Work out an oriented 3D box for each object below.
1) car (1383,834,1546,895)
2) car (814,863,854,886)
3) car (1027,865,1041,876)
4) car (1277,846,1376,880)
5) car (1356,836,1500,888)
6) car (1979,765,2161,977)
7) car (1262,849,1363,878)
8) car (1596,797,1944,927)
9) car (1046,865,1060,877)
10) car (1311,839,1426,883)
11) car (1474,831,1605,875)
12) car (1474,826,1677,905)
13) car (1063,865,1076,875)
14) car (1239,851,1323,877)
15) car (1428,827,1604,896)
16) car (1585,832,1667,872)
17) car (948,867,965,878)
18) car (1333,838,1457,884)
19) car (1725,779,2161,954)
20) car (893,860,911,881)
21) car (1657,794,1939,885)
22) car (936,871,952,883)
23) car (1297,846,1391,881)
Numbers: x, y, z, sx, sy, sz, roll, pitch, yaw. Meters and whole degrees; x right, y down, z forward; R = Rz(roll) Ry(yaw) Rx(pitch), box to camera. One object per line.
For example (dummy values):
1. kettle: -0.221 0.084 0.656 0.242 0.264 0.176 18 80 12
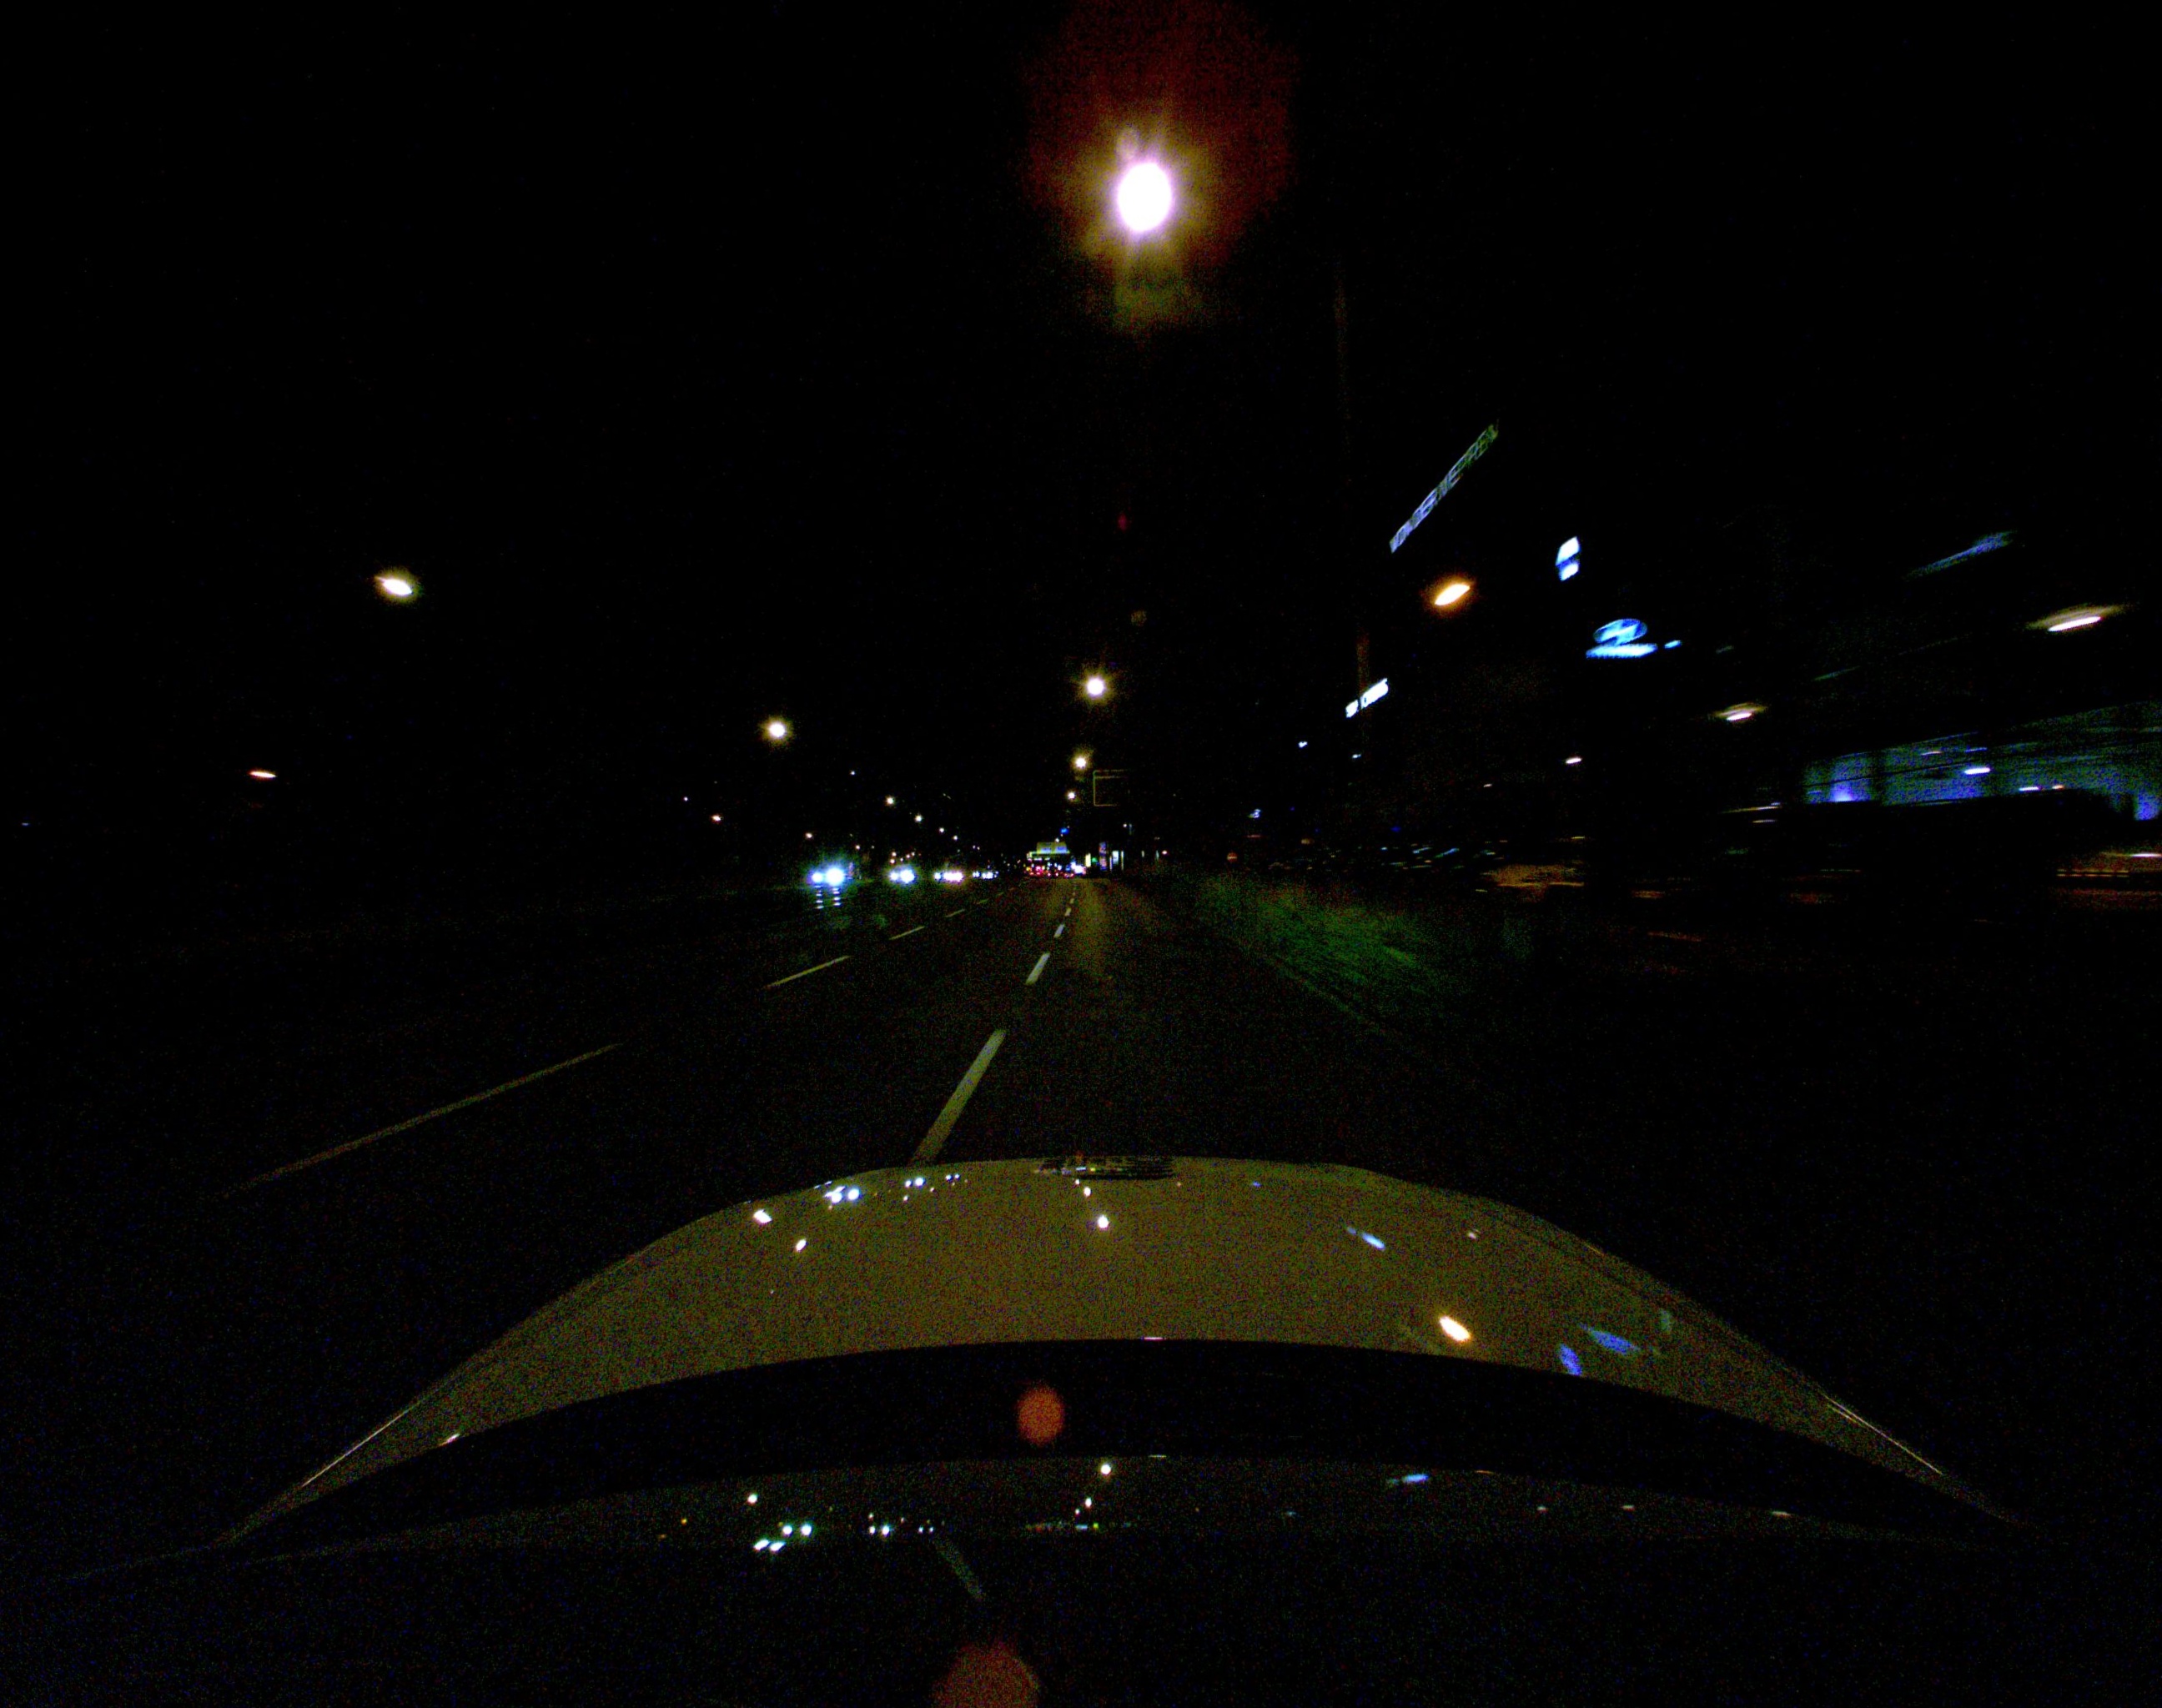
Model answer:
1. car: 11.193 0.306 23.833 4.031 1.373 1.816 -5 0 -15
2. car: -19.236 1.562 63.529 1.773 1.713 4.227 -1 -1 1
3. car: -8.585 3.063 149.261 2.255 2.014 4.826 -1 -1 1
4. car: 11.282 0.403 37.462 3.996 1.424 1.898 -1 0 -17
5. car: 11.383 0.256 26.822 3.987 1.381 1.802 -4 0 -10
6. car: 10.936 -0.046 7.136 4.461 1.687 1.993 -6 0 -10
7. car: 11.406 0.455 40.182 4.650 1.264 1.932 -1 0 -24
8. car: 11.132 0.121 13.294 4.459 1.547 1.764 -6 -1 -9
9. car: -4.951 3.041 145.337 2.348 2.129 4.826 -1 -1 1
10. car: 11.377 0.253 32.252 3.999 1.470 1.821 -3 0 -19
11. car: 16.320 -0.004 29.173 1.632 1.464 3.756 -1 0 -32
12. car: 11.232 0.240 18.572 3.806 1.453 1.710 -4 0 -13
13. car: -2.370 3.342 168.669 2.419 2.113 4.826 -1 -1 1
14. car: 11.076 0.561 45.174 4.126 1.420 1.868 0 -1 -13
15. car: 11.302 0.185 21.237 3.771 1.379 1.709 -5 0 -13
16. car: 24.305 -0.082 36.255 4.340 1.654 1.639 0 -1 -36
17. car: -17.660 2.668 115.604 1.615 1.440 4.337 -3 -1 0
18. car: 11.315 0.215 29.360 4.003 1.391 1.813 -3 1 -22
19. car: 10.542 0.105 9.978 4.081 1.568 1.848 -5 0 -10
20. car: -25.039 2.389 114.070 2.147 2.671 6.934 -4 -1 -11
21. car: 16.998 -0.255 19.578 1.843 1.918 4.775 0 -1 -36
22. car: -21.040 3.518 125.367 1.990 1.594 3.994 -3 -1 -4
23. car: 11.221 0.406 34.770 3.617 1.433 1.667 0 -1 -23
